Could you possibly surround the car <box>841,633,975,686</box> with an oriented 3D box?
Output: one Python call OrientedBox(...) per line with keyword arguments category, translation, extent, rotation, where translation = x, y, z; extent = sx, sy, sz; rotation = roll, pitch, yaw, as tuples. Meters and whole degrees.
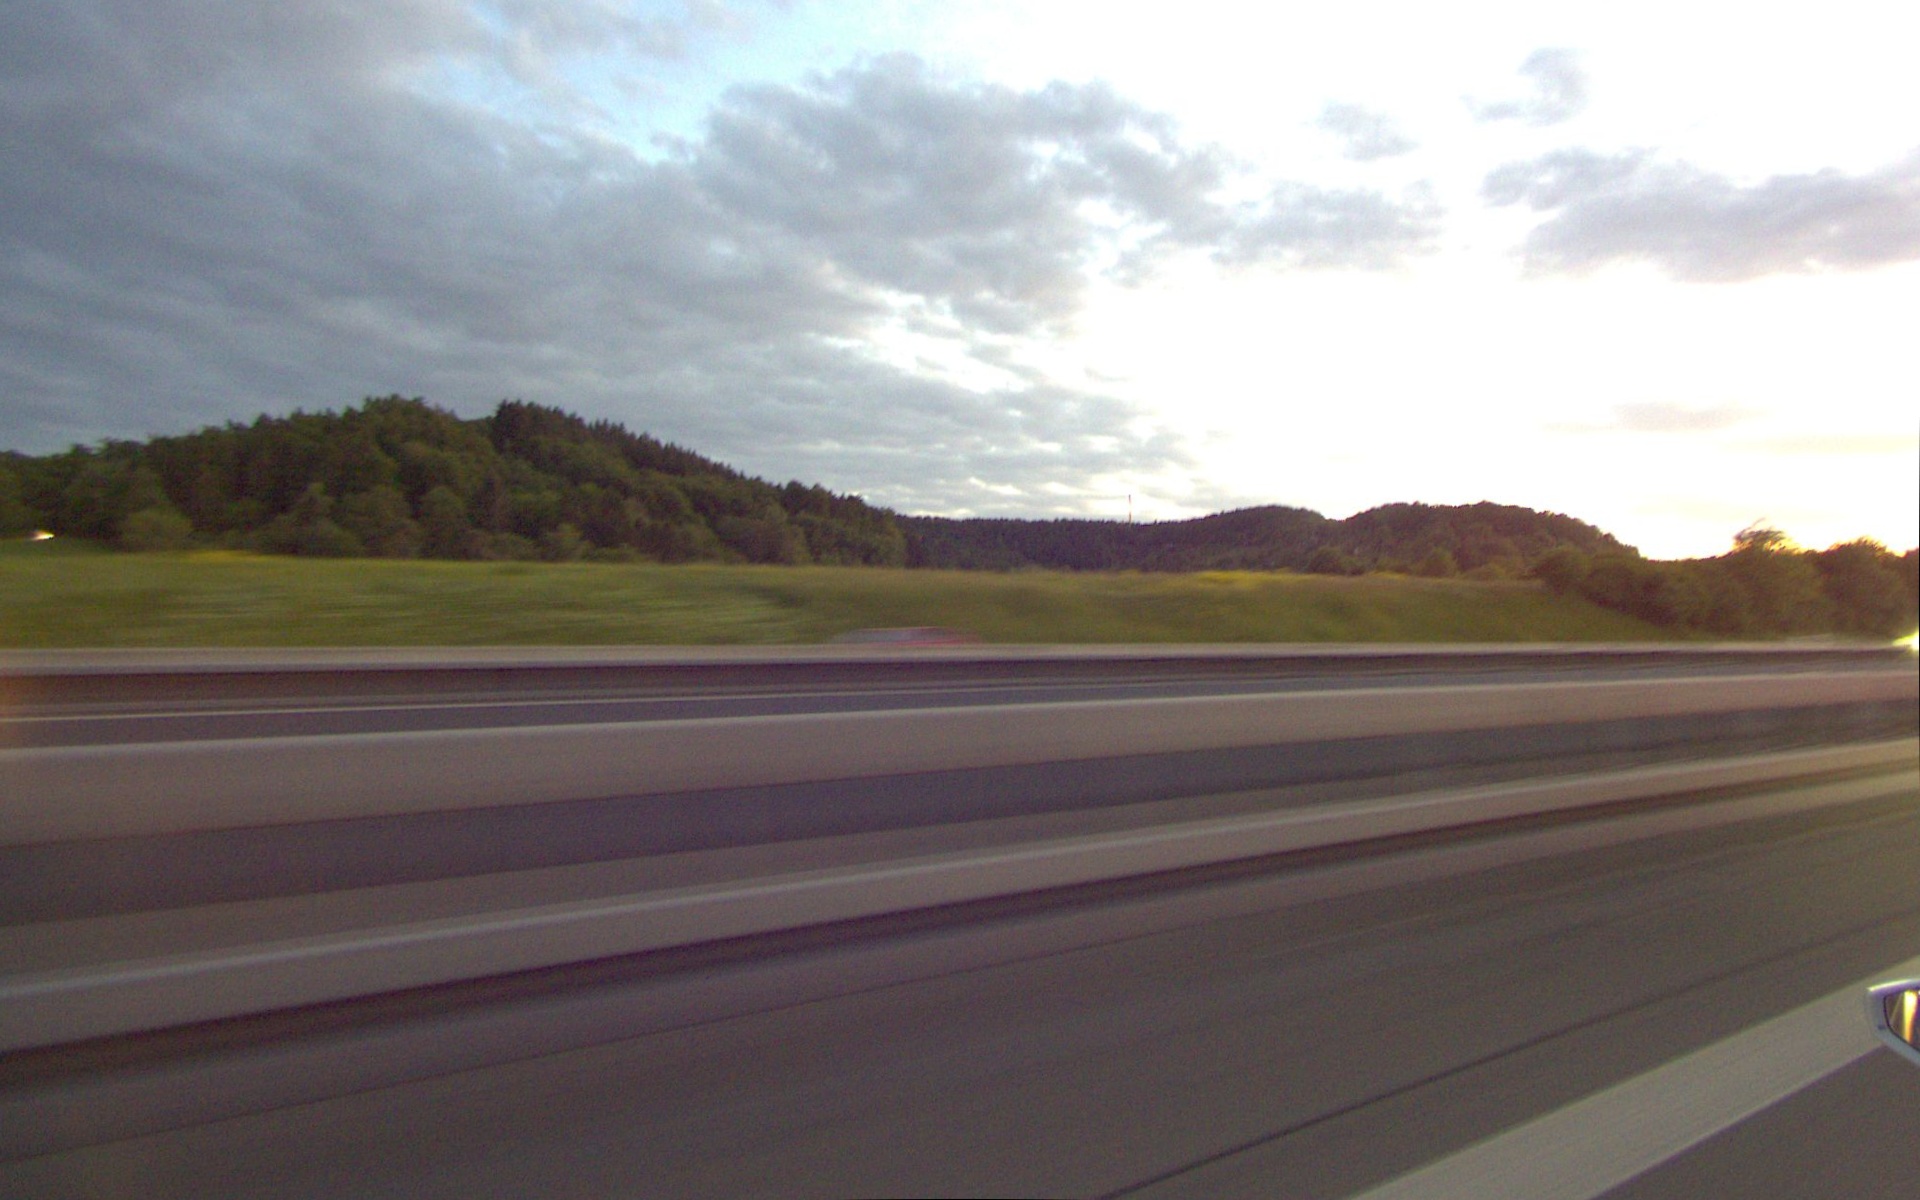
OrientedBox(category="car", translation=(-1.588, 1.777, 30.725), extent=(3.765, 1.513, 1.660), rotation=(1, -1, -30))
